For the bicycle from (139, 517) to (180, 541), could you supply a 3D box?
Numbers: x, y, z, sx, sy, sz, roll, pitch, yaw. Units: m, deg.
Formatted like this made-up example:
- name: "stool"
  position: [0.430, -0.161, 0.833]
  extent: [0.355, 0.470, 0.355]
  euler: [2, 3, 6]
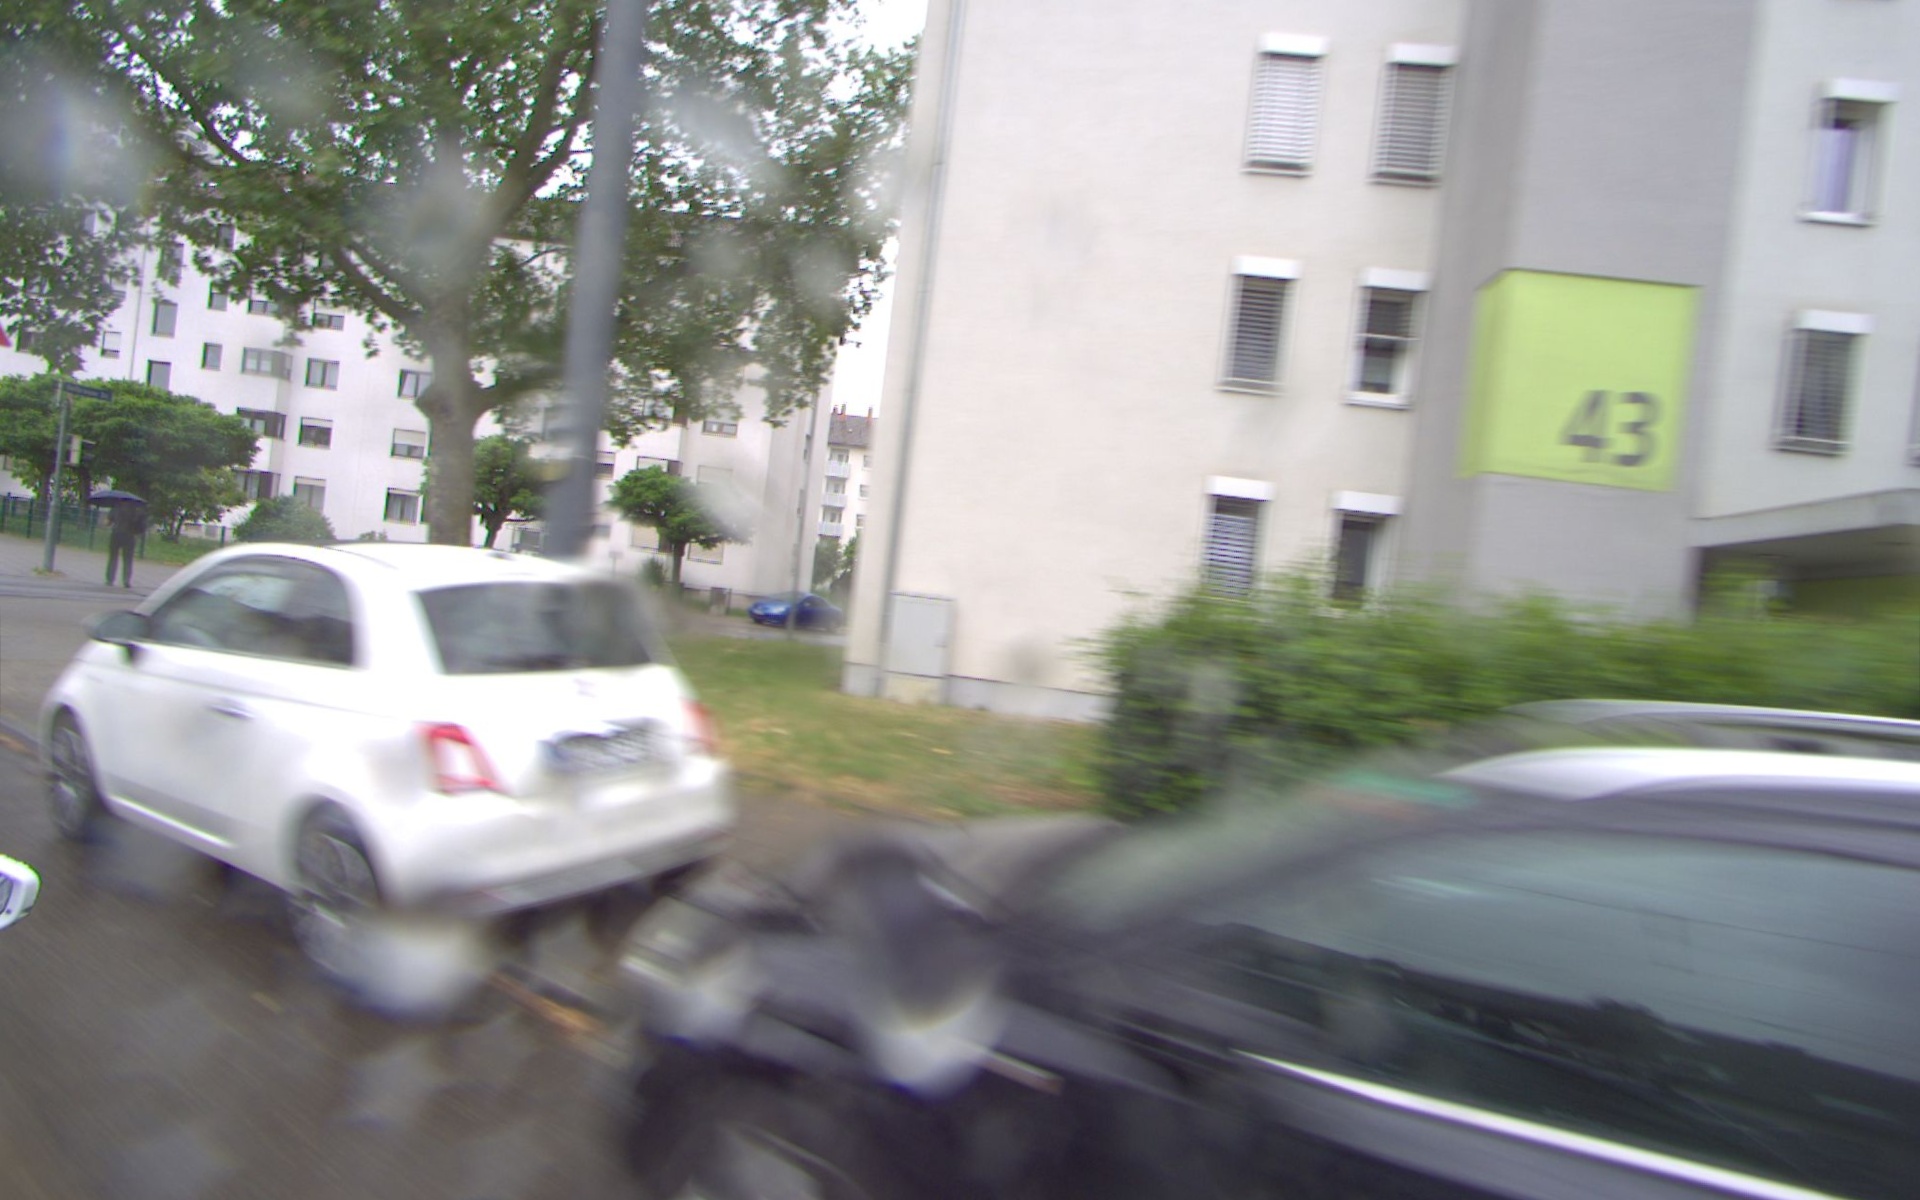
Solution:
- name: "bicycle"
  position: [-36.472, -3.225, 45.832]
  extent: [1.542, 0.858, 0.491]
  euler: [7, 1, 7]

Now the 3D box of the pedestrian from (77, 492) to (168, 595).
- name: "pedestrian"
  position: [-16.657, -1.127, 20.007]
  extent: [1.414, 1.836, 1.097]
  euler: [7, 1, 43]

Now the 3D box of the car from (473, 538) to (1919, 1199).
- name: "car"
  position: [1.268, 0.866, 1.917]
  extent: [4.113, 1.467, 1.902]
  euler: [7, 0, 30]

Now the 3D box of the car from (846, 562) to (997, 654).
- name: "car"
  position: [-1.286, 0.394, 37.631]
  extent: [2.152, 2.813, 6.121]
  euler: [7, 0, 35]

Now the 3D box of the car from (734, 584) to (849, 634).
- name: "car"
  position: [-6.547, 0.393, 39.484]
  extent: [1.907, 1.524, 4.294]
  euler: [7, 0, 34]

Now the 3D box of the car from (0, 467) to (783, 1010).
- name: "car"
  position: [-2.922, 0.334, 4.737]
  extent: [3.933, 1.538, 1.560]
  euler: [7, 1, 31]

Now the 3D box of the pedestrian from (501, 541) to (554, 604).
- name: "pedestrian"
  position: [-13.409, -0.833, 31.204]
  extent: [0.708, 1.790, 1.180]
  euler: [7, 0, 30]

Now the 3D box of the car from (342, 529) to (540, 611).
- name: "car"
  position: [-13.866, -0.755, 27.108]
  extent: [1.842, 1.701, 4.294]
  euler: [7, 0, 34]
